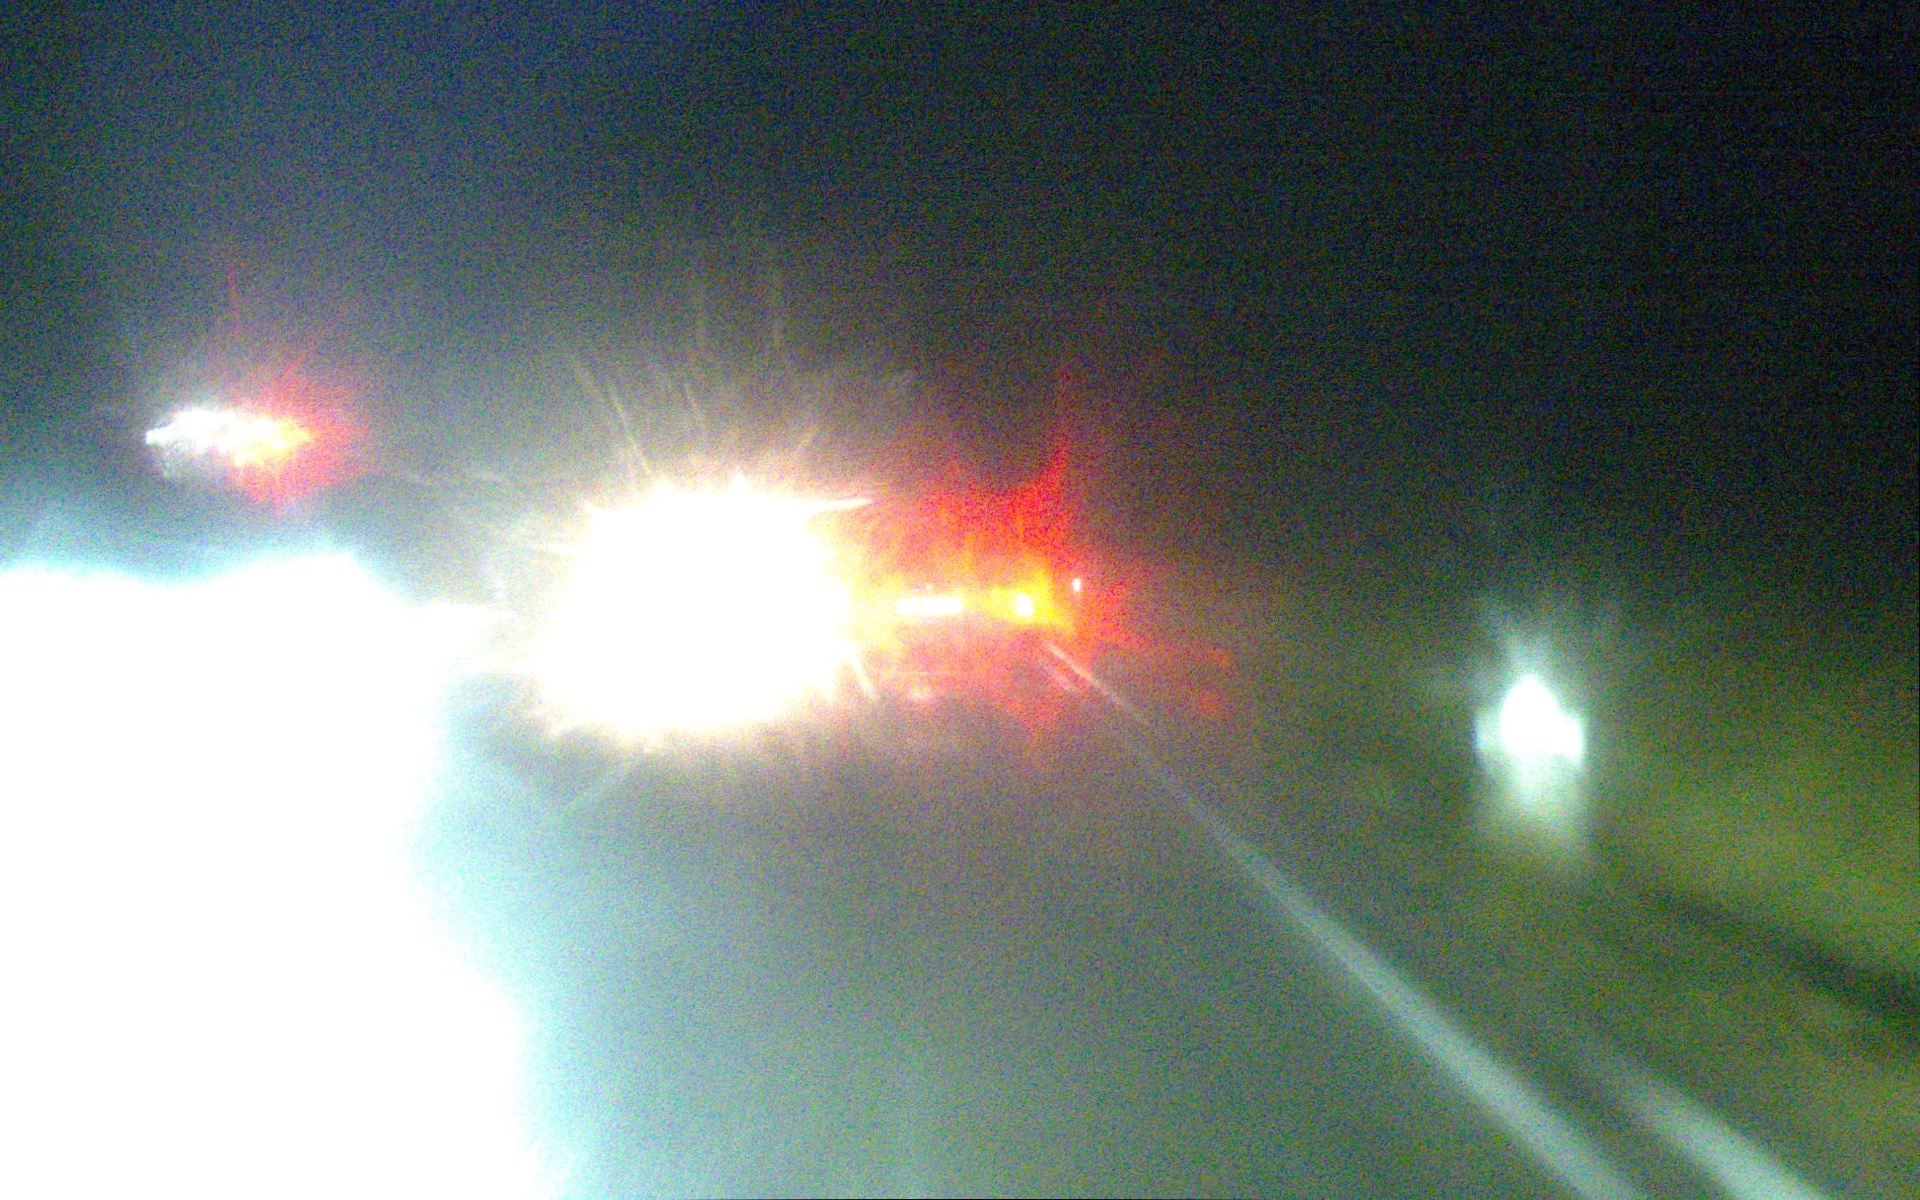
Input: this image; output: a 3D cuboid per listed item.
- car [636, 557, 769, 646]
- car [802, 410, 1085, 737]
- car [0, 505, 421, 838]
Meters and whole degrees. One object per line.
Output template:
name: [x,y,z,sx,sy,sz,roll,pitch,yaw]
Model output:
car: [-4.527,0.030,61.023,1.919,1.466,4.574,-2,0,1]
car: [-0.160,-0.325,29.541,2.181,2.548,4.509,1,3,-1]
car: [-3.896,0.277,17.467,1.772,1.505,3.690,0,2,-1]
